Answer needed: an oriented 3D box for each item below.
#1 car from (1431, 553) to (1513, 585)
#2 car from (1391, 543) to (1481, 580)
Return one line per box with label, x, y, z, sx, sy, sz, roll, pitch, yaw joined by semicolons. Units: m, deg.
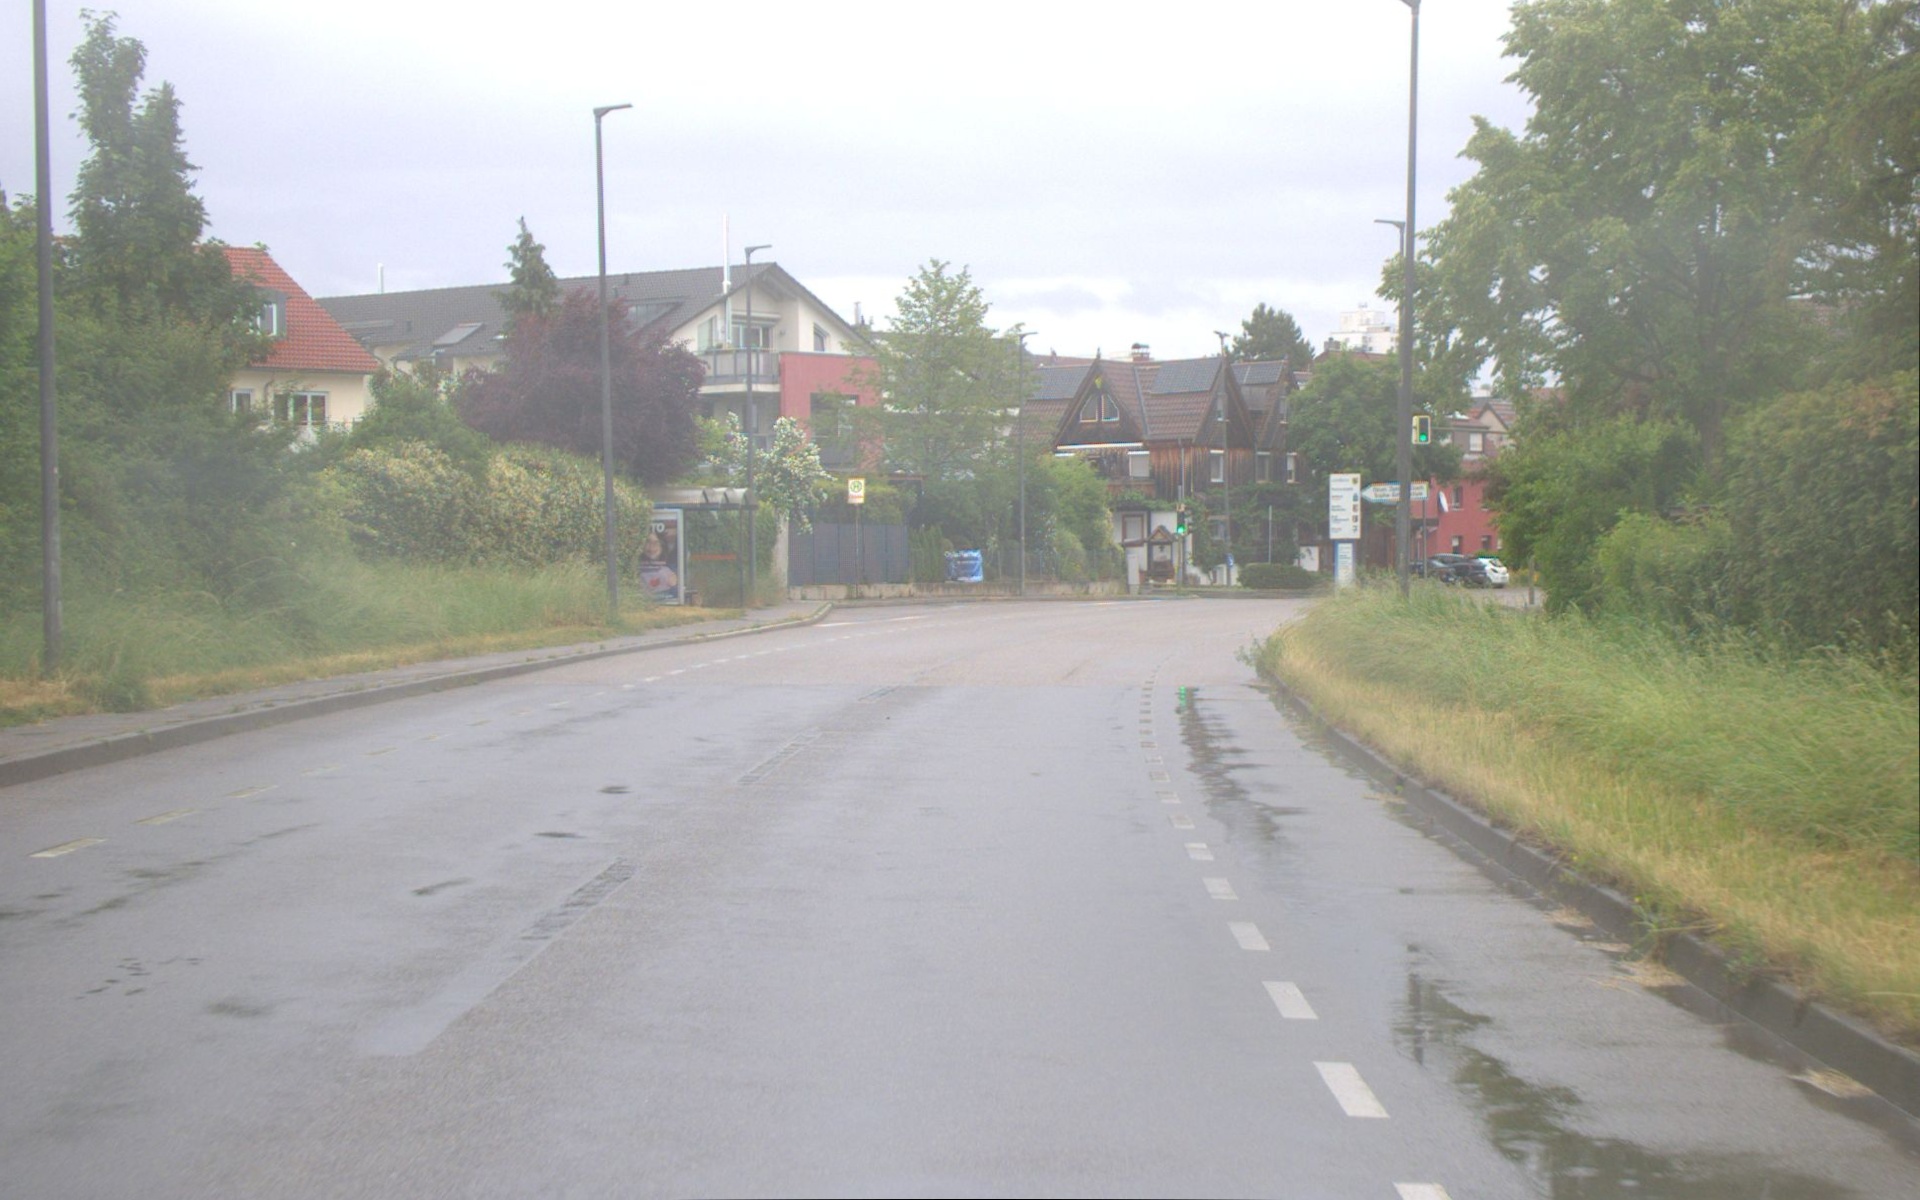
car;24.169;-1.454;162.299;3.468;1.474;1.587;0;0;35
car;21.632;-1.749;156.322;3.583;1.501;1.851;3;2;37
